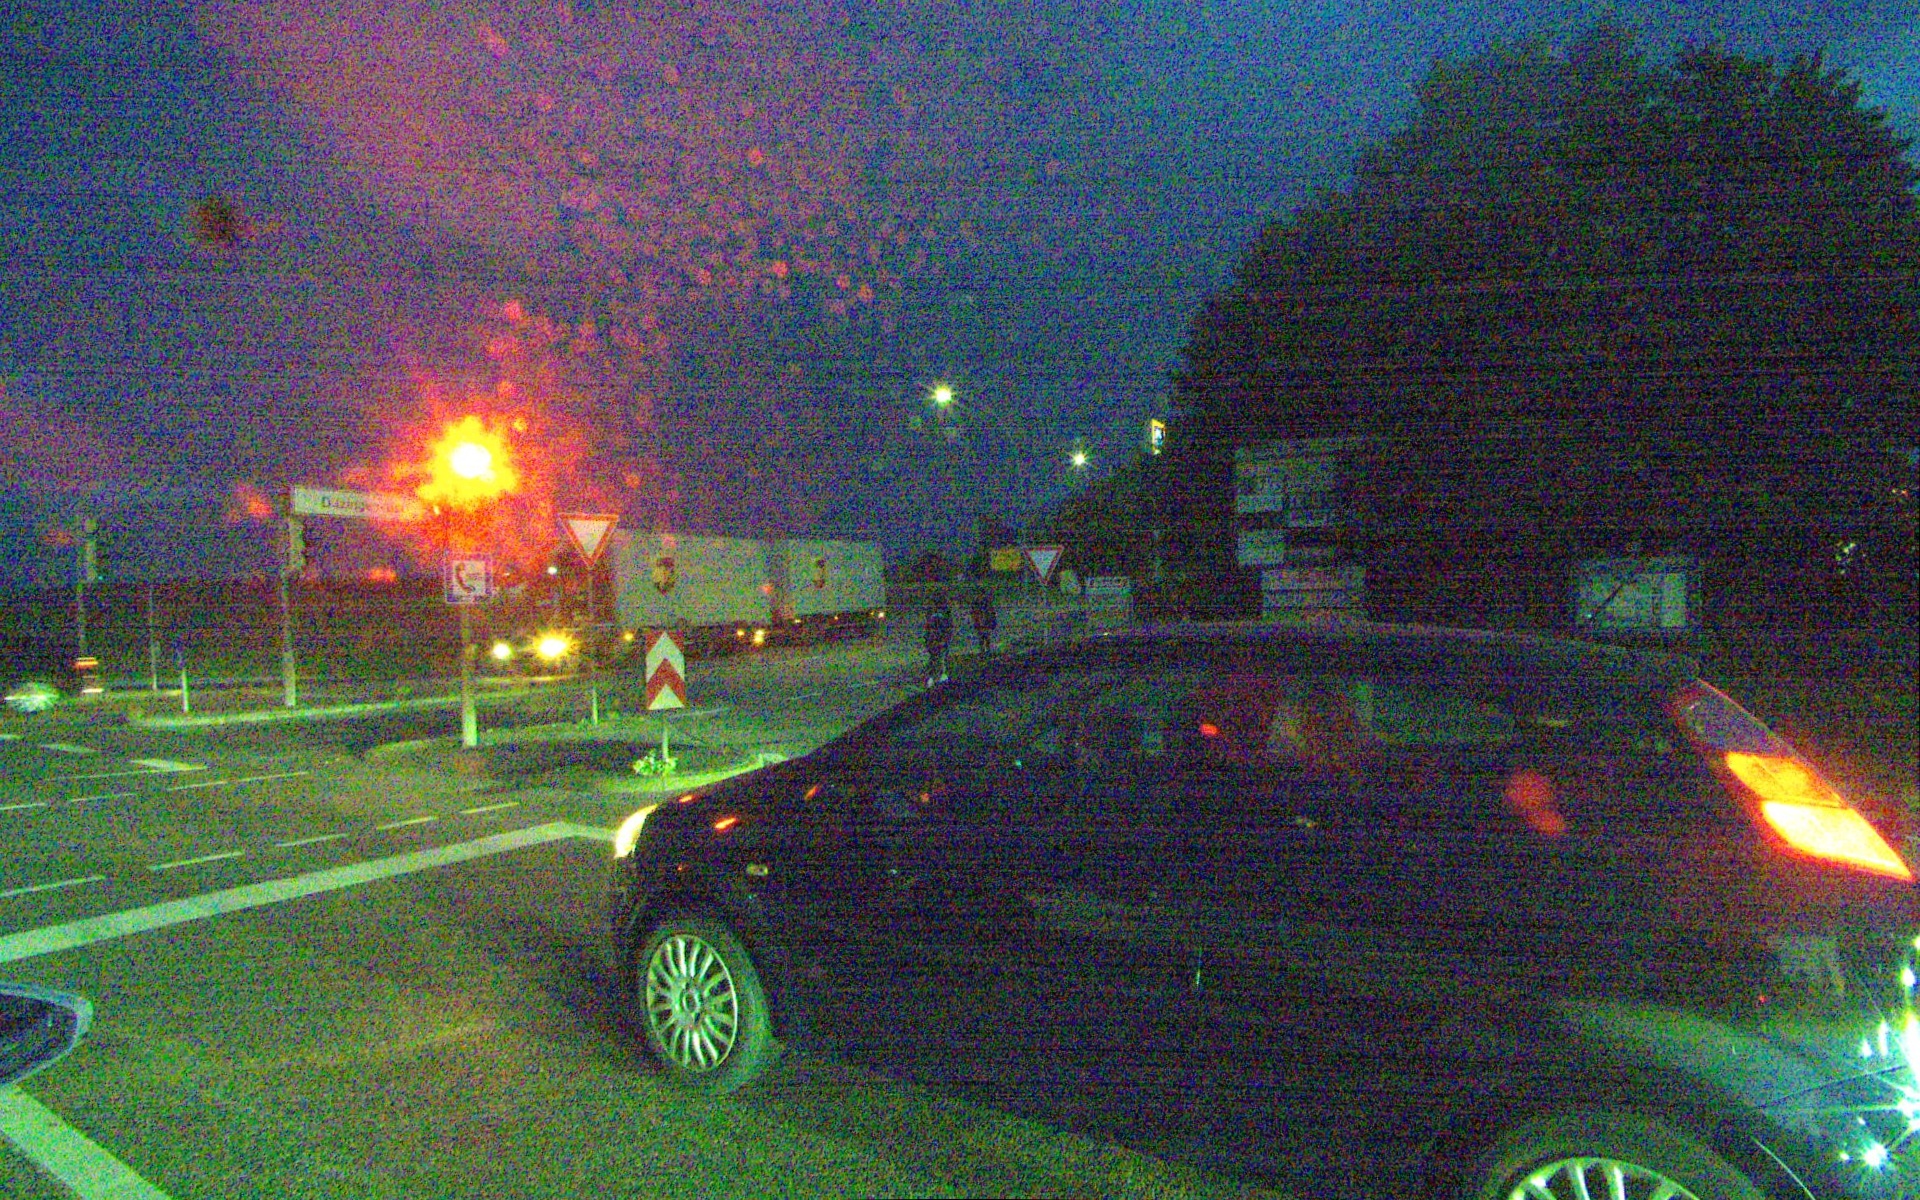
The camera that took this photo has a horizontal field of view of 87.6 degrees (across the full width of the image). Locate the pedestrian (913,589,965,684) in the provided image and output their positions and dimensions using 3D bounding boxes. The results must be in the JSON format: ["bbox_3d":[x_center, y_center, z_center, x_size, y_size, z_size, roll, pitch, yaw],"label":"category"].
[{"bbox_3d":[-0.417,0.733,20.416,0.861,1.859,0.731,-3,1,6],"label":"pedestrian"}]

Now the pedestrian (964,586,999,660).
[{"bbox_3d":[0.577,0.600,26.651,0.860,1.925,0.660,-1,1,6],"label":"pedestrian"}]

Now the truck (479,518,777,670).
[{"bbox_3d":[-9.947,-0.139,31.770,2.877,4.032,10.039,-1,0,24],"label":"truck"}]

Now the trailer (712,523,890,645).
[{"bbox_3d":[-6.098,-0.563,40.475,2.875,4.359,9.050,-1,0,22],"label":"trailer"}]

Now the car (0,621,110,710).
[{"bbox_3d":[-17.788,1.118,17.103,1.970,1.540,4.595,0,-2,30],"label":"car"}]

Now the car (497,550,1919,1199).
[{"bbox_3d":[0.416,0.734,3.275,4.049,1.540,1.666,-1,-1,34],"label":"car"}]
